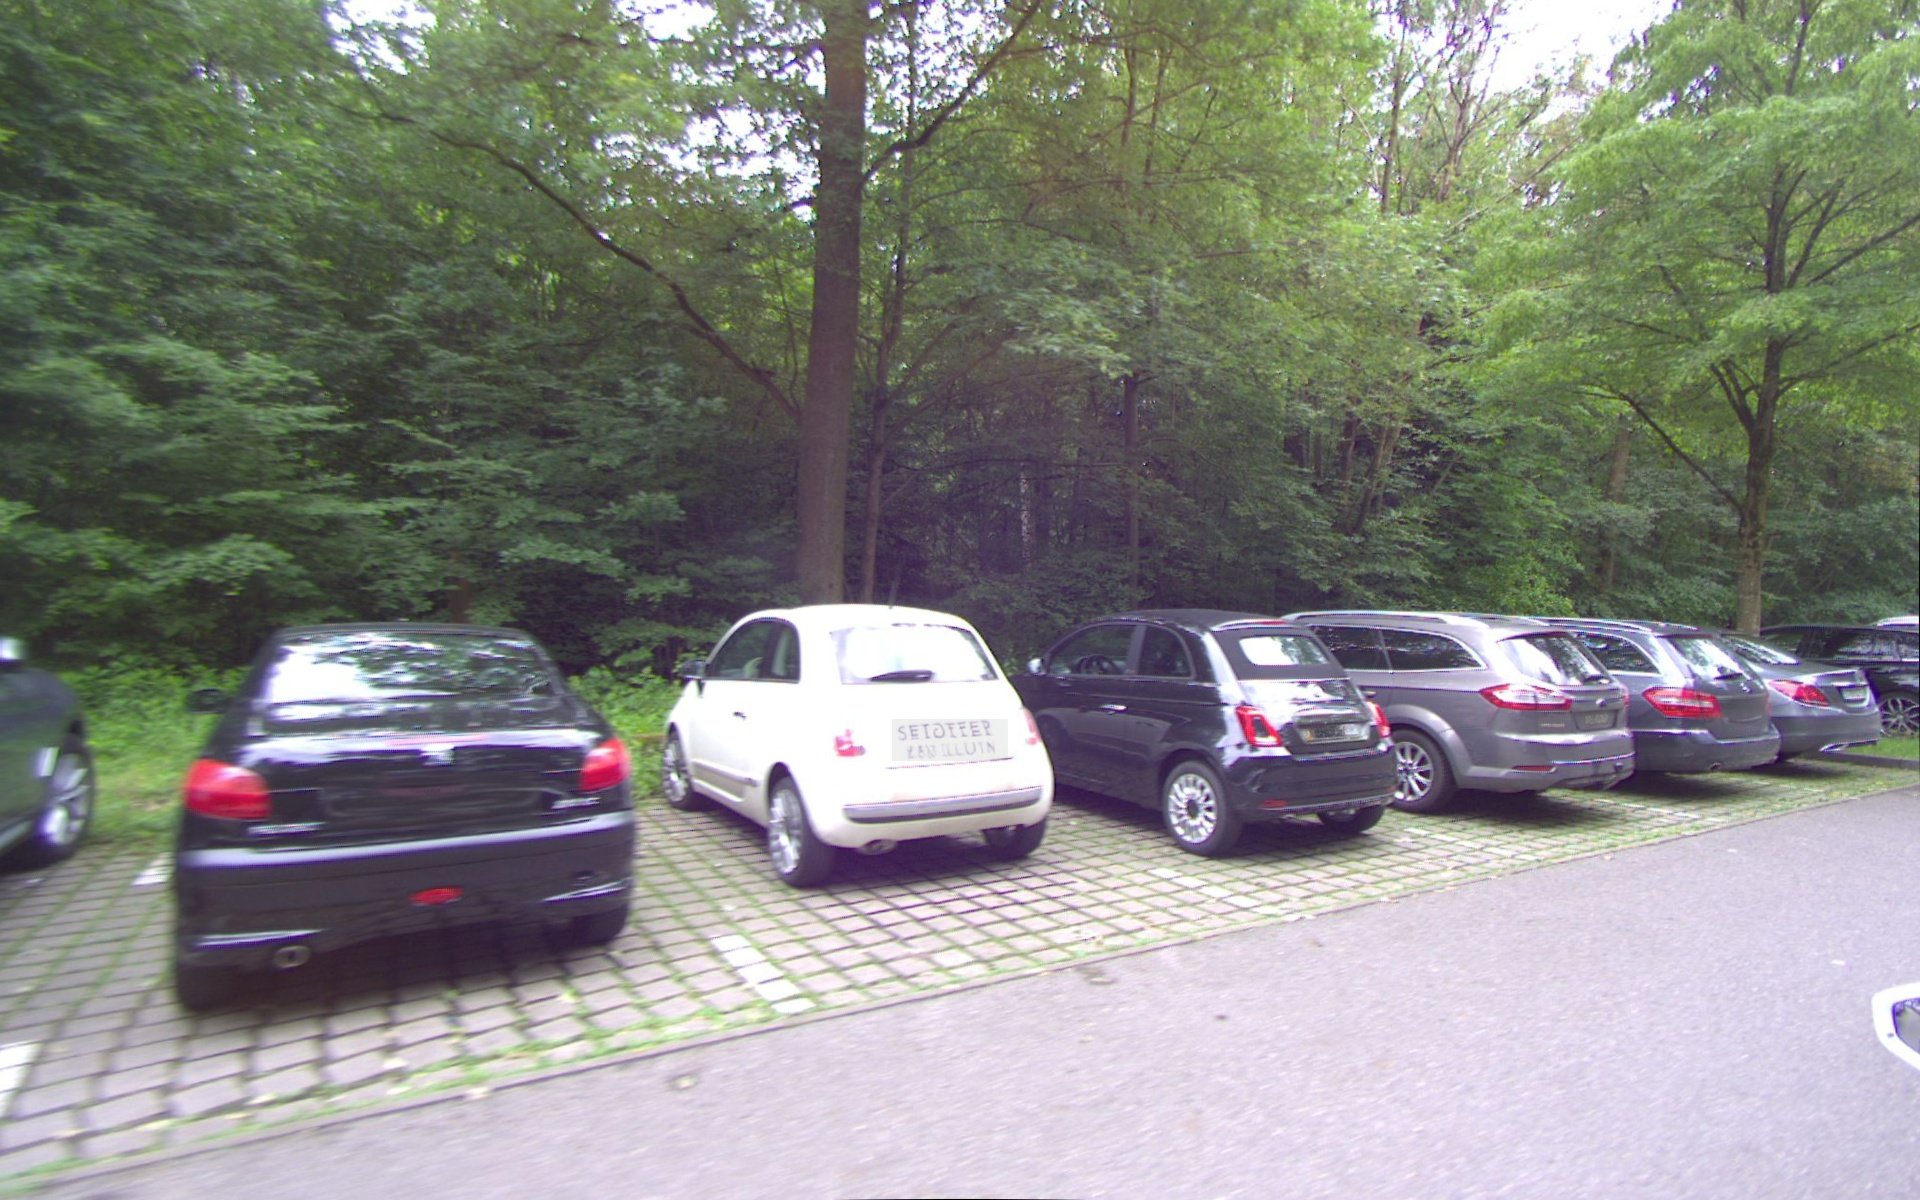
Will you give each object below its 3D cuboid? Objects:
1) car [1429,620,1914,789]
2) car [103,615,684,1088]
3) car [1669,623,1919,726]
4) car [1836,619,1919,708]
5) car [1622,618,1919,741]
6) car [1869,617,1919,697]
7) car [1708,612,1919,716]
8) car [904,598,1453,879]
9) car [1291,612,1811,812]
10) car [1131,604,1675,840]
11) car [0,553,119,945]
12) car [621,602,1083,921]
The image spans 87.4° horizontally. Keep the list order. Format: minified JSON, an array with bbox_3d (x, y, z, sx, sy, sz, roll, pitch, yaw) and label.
[{"bbox_3d":[7.798,1.011,11.455,1.940,1.450,4.091,1,0,-29],"label":"car"},{"bbox_3d":[-2.920,0.806,5.236,1.790,1.327,3.956,0,1,-32],"label":"car"},{"bbox_3d":[13.922,1.104,15.328,1.965,1.361,4.705,1,0,-32],"label":"car"},{"bbox_3d":[18.385,1.165,17.806,1.980,1.550,3.960,1,0,-35],"label":"car"},{"bbox_3d":[11.991,1.036,14.028,1.740,1.468,4.265,1,0,-36],"label":"car"},{"bbox_3d":[20.345,1.147,19.241,1.978,1.550,3.965,1,0,-32],"label":"car"},{"bbox_3d":[15.944,1.065,17.161,1.938,1.616,4.705,1,0,-32],"label":"car"},{"bbox_3d":[1.333,0.786,7.974,1.815,1.508,4.381,1,0,-29],"label":"car"},{"bbox_3d":[5.651,0.919,10.140,1.974,1.500,4.087,1,0,-32],"label":"car"},{"bbox_3d":[3.639,0.841,8.966,1.909,1.544,4.064,1,0,-33],"label":"car"},{"bbox_3d":[-4.853,0.617,3.632,2.005,1.655,4.205,1,0,-29],"label":"car"},{"bbox_3d":[-1.017,0.787,6.919,1.642,1.470,3.843,0,1,-32],"label":"car"}]
